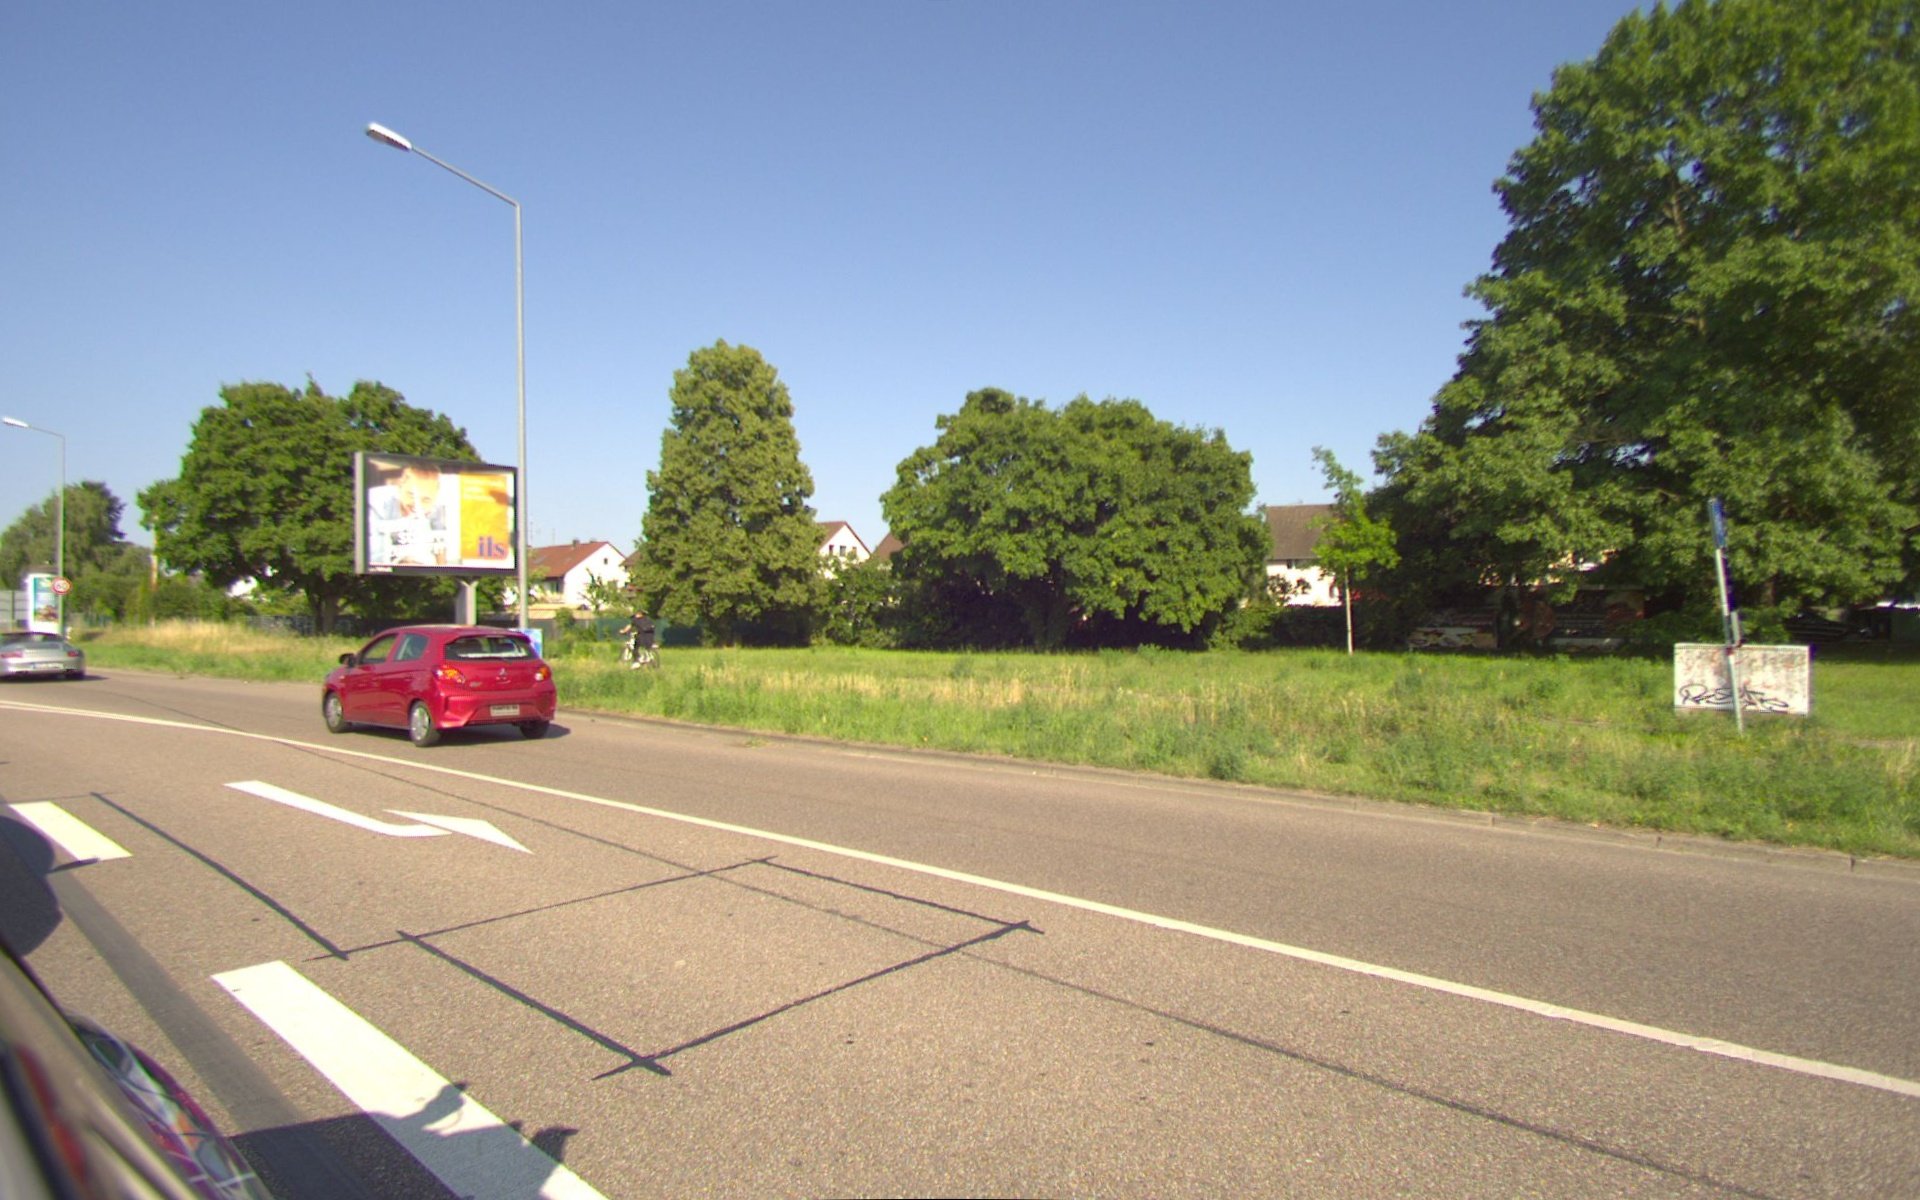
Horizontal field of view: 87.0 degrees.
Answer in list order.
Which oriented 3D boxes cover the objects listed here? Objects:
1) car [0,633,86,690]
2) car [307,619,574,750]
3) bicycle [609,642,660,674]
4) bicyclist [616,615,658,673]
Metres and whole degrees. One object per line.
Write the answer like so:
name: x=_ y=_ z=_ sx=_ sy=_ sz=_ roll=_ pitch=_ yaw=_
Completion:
car: x=-24.192 y=1.524 z=26.088 sx=4.281 sy=1.320 sz=1.762 roll=-1 pitch=-1 yaw=39
car: x=-6.940 y=1.021 z=13.417 sx=3.669 sy=1.510 sz=1.679 roll=-1 pitch=-2 yaw=36
bicycle: x=-8.437 y=1.494 z=26.206 sx=1.834 sy=0.759 sz=0.449 roll=-2 pitch=-1 yaw=44
bicyclist: x=-8.372 y=1.126 z=26.211 sx=0.629 sy=1.439 sz=1.072 roll=0 pitch=-1 yaw=-45
